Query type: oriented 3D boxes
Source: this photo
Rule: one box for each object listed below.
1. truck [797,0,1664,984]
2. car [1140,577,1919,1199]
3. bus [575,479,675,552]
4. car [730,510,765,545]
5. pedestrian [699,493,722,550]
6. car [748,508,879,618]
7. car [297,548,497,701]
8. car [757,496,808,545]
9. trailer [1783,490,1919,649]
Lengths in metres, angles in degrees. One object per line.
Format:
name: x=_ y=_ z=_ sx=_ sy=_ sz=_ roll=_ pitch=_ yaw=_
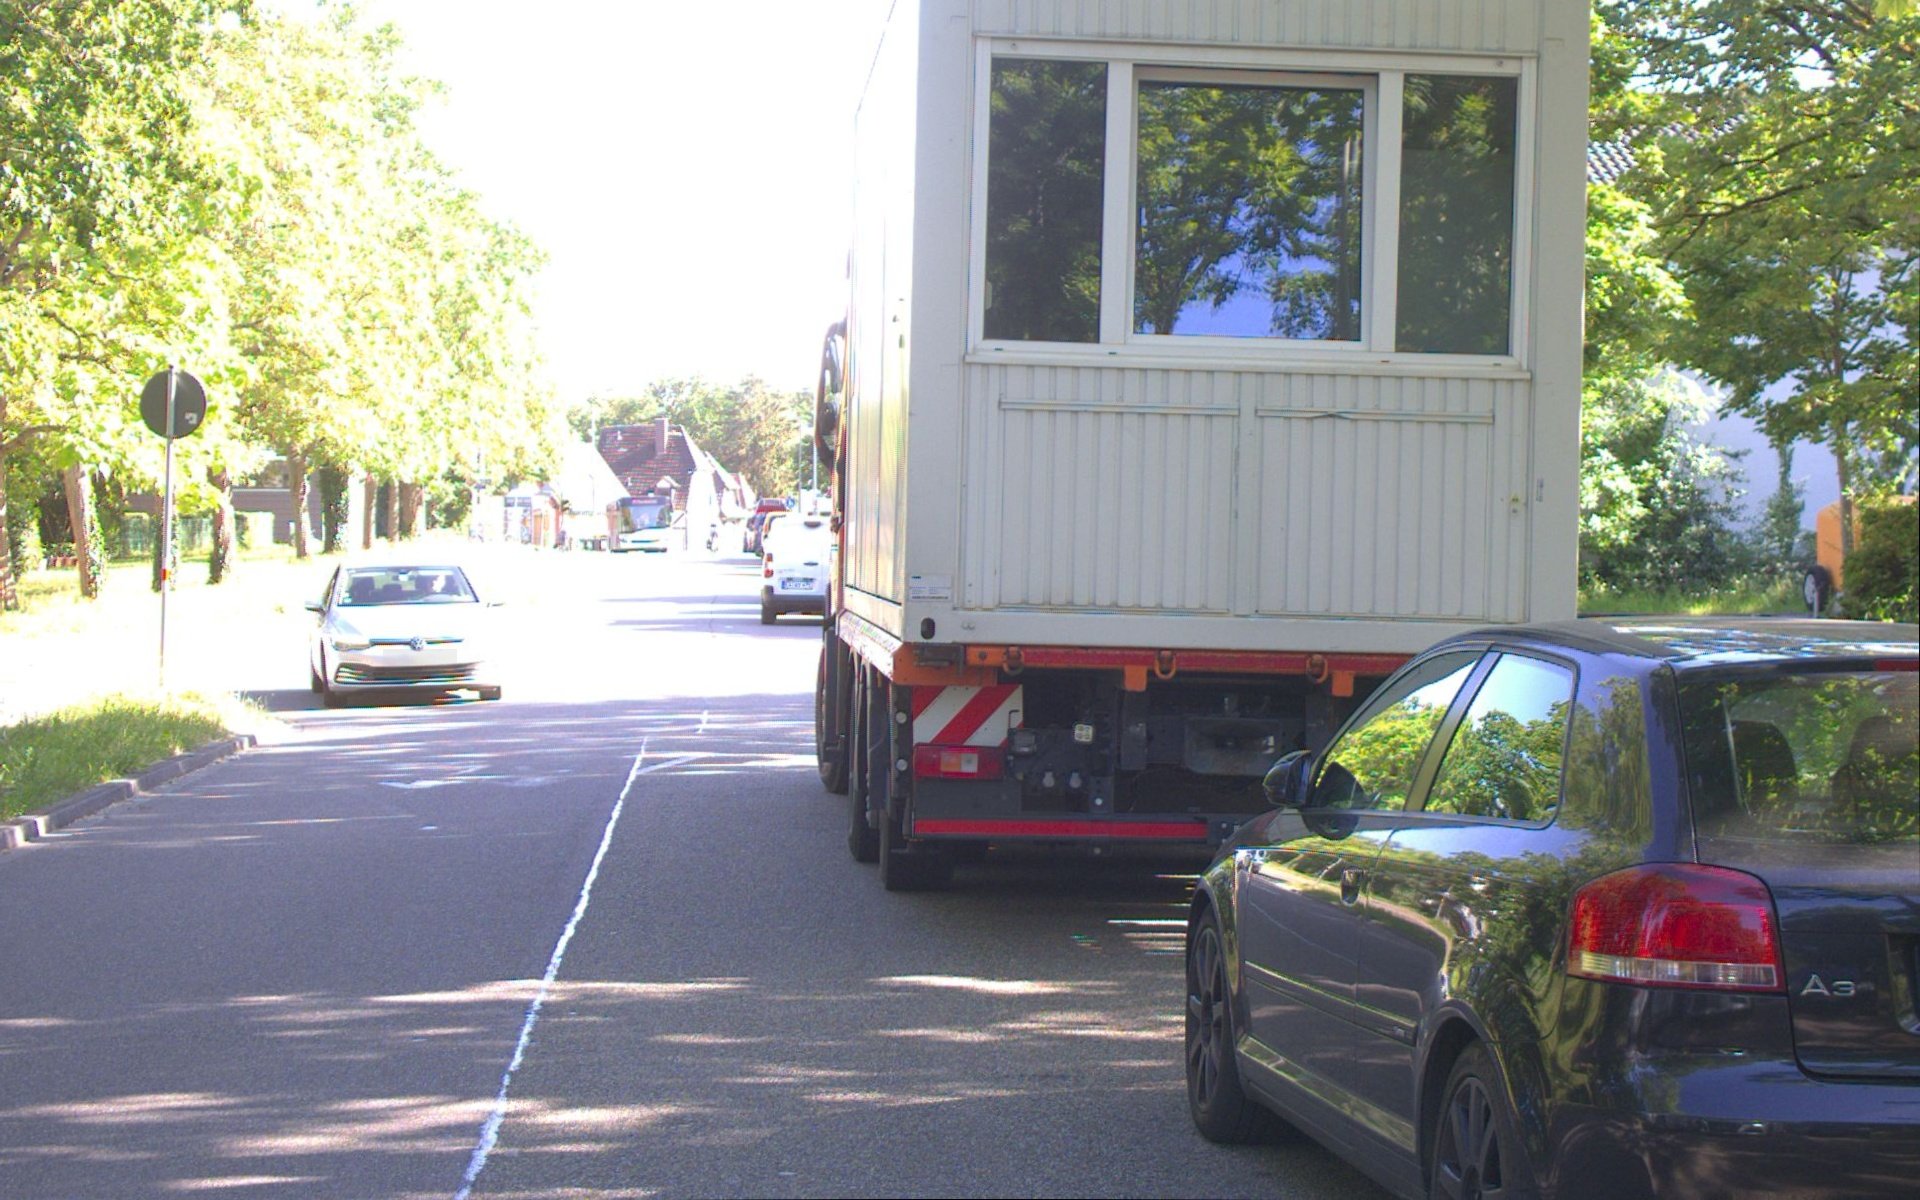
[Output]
truck: x=0.759 y=-0.726 z=17.730 sx=2.772 sy=3.982 sz=10.350 roll=2 pitch=1 yaw=-5
car: x=1.560 y=0.707 z=7.556 sx=1.639 sy=1.415 sz=4.001 roll=1 pitch=1 yaw=-7
bus: x=-15.919 y=-4.044 z=164.098 sx=4.065 sy=3.337 sz=9.802 roll=-1 pitch=1 yaw=-2
car: x=-11.210 y=-3.839 z=181.171 sx=1.781 sy=1.802 sz=4.001 roll=-1 pitch=1 yaw=-5
pedestrian: x=-9.397 y=-2.955 z=129.419 sx=0.752 sy=2.106 sz=0.799 roll=2 pitch=1 yaw=-1
car: x=-2.580 y=-0.661 z=59.609 sx=1.946 sy=1.836 sz=4.001 roll=0 pitch=1 yaw=-7
car: x=-5.814 y=0.208 z=35.211 sx=1.805 sy=1.415 sz=3.960 roll=-2 pitch=1 yaw=-12
car: x=-6.646 y=-2.959 z=128.536 sx=1.781 sy=1.802 sz=4.001 roll=-1 pitch=1 yaw=-5
trailer: x=12.855 y=-0.427 z=46.582 sx=2.942 sy=2.109 sz=1.611 roll=0 pitch=1 yaw=-5
